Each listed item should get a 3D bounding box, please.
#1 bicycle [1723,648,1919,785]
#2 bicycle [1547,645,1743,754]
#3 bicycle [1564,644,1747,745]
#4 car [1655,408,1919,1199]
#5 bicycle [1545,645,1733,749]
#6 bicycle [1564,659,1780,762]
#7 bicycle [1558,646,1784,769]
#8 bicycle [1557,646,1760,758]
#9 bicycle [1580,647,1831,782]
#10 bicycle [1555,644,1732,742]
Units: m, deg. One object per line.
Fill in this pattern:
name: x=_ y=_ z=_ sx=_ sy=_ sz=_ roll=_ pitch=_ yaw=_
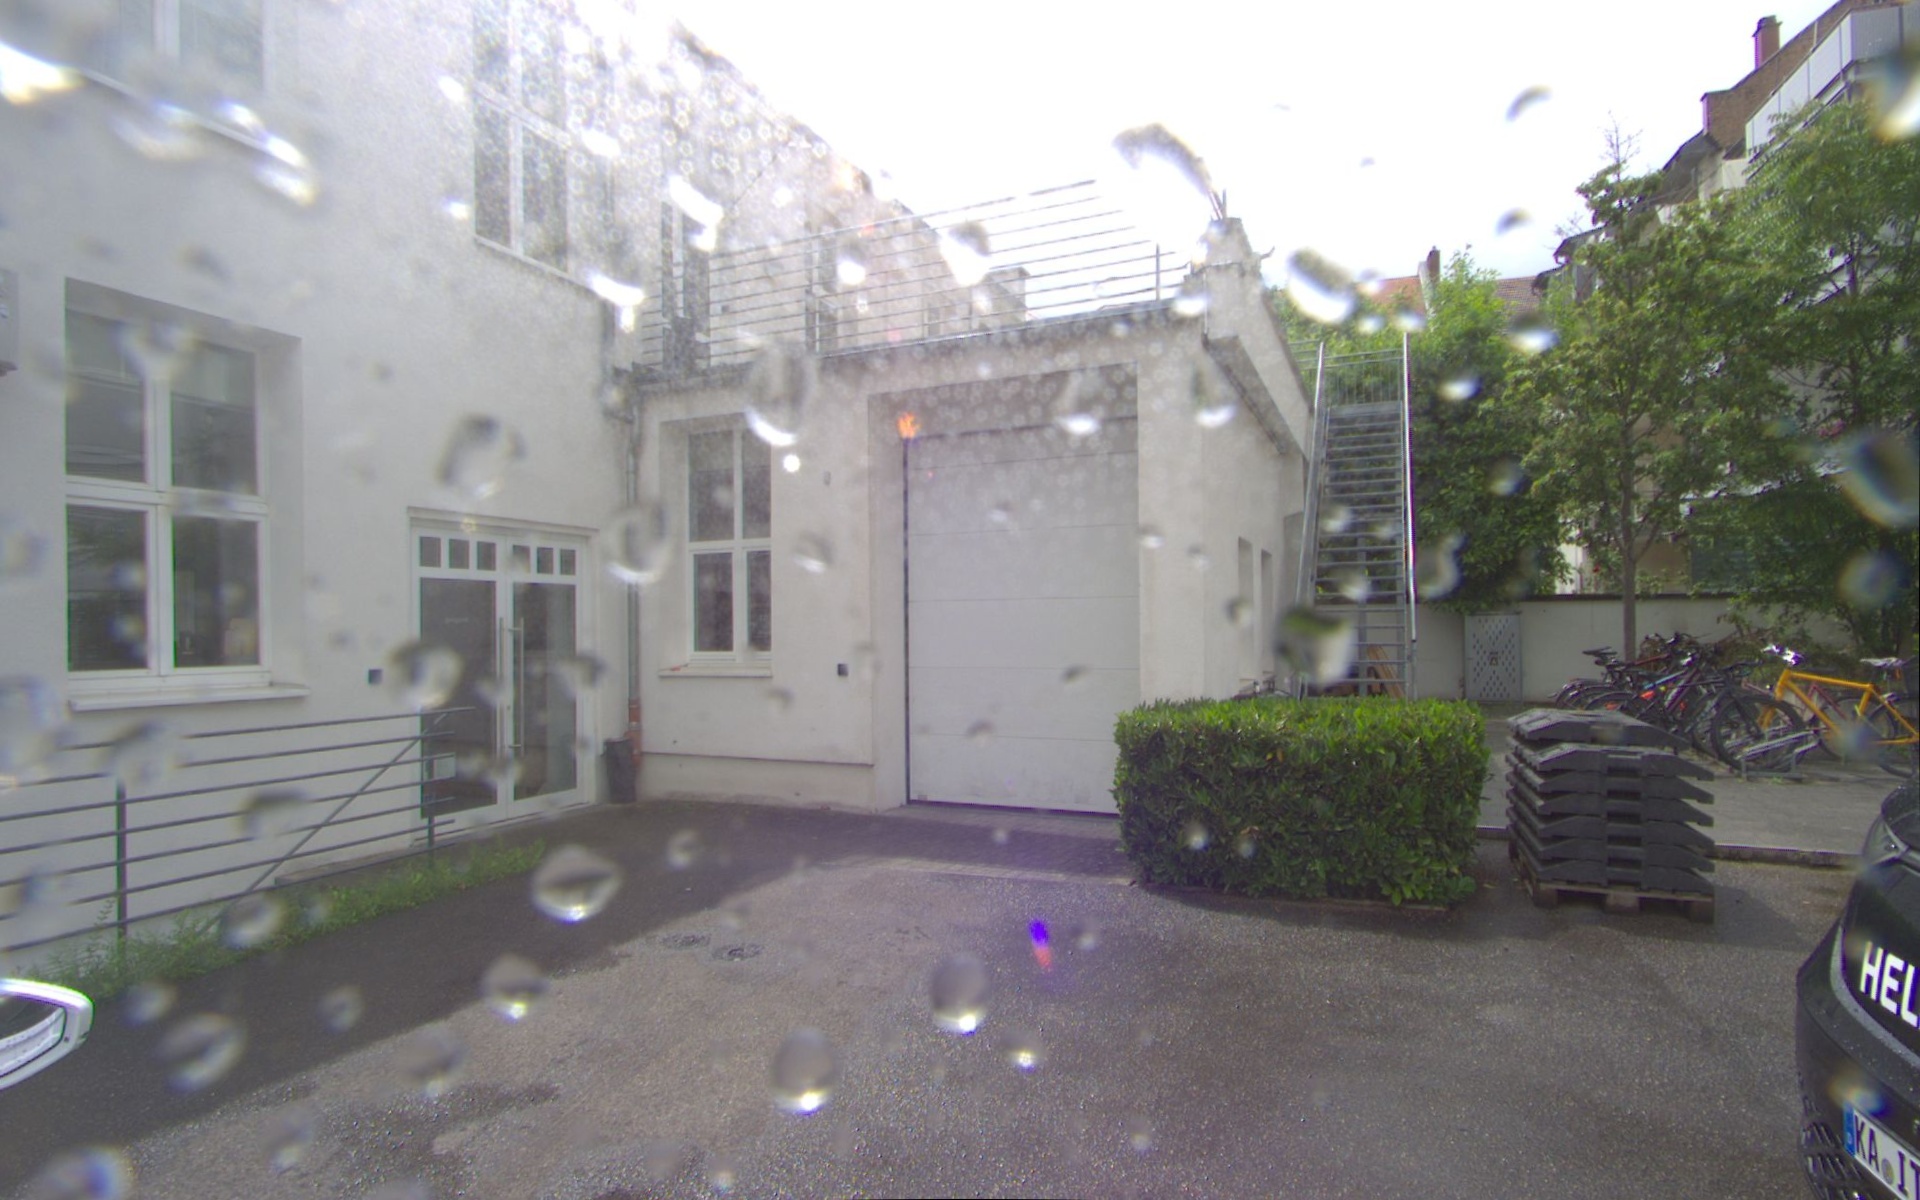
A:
bicycle: x=7.750 y=0.989 z=8.670 sx=1.767 sy=1.118 sz=0.366 roll=-1 pitch=0 yaw=26
bicycle: x=7.402 y=1.060 z=10.888 sx=1.724 sy=1.118 sz=0.342 roll=-1 pitch=0 yaw=18
bicycle: x=8.091 y=1.085 z=11.711 sx=1.724 sy=1.118 sz=0.354 roll=-1 pitch=0 yaw=18
car: x=3.879 y=0.558 z=1.108 sx=4.663 sy=1.888 sz=1.968 roll=-2 pitch=-2 yaw=17
bicycle: x=7.636 y=1.073 z=11.319 sx=1.724 sy=1.118 sz=0.345 roll=-1 pitch=0 yaw=18
bicycle: x=7.219 y=1.106 z=10.217 sx=1.764 sy=0.980 sz=0.329 roll=-1 pitch=0 yaw=18
bicycle: x=6.914 y=1.024 z=9.821 sx=1.767 sy=1.118 sz=0.353 roll=-1 pitch=0 yaw=26
bicycle: x=7.311 y=1.048 z=10.548 sx=1.724 sy=1.118 sz=0.332 roll=-1 pitch=0 yaw=18
bicycle: x=6.666 y=0.998 z=9.051 sx=1.767 sy=1.118 sz=0.404 roll=-1 pitch=0 yaw=26
bicycle: x=8.194 y=1.097 z=12.060 sx=1.724 sy=1.118 sz=0.341 roll=-1 pitch=0 yaw=18
